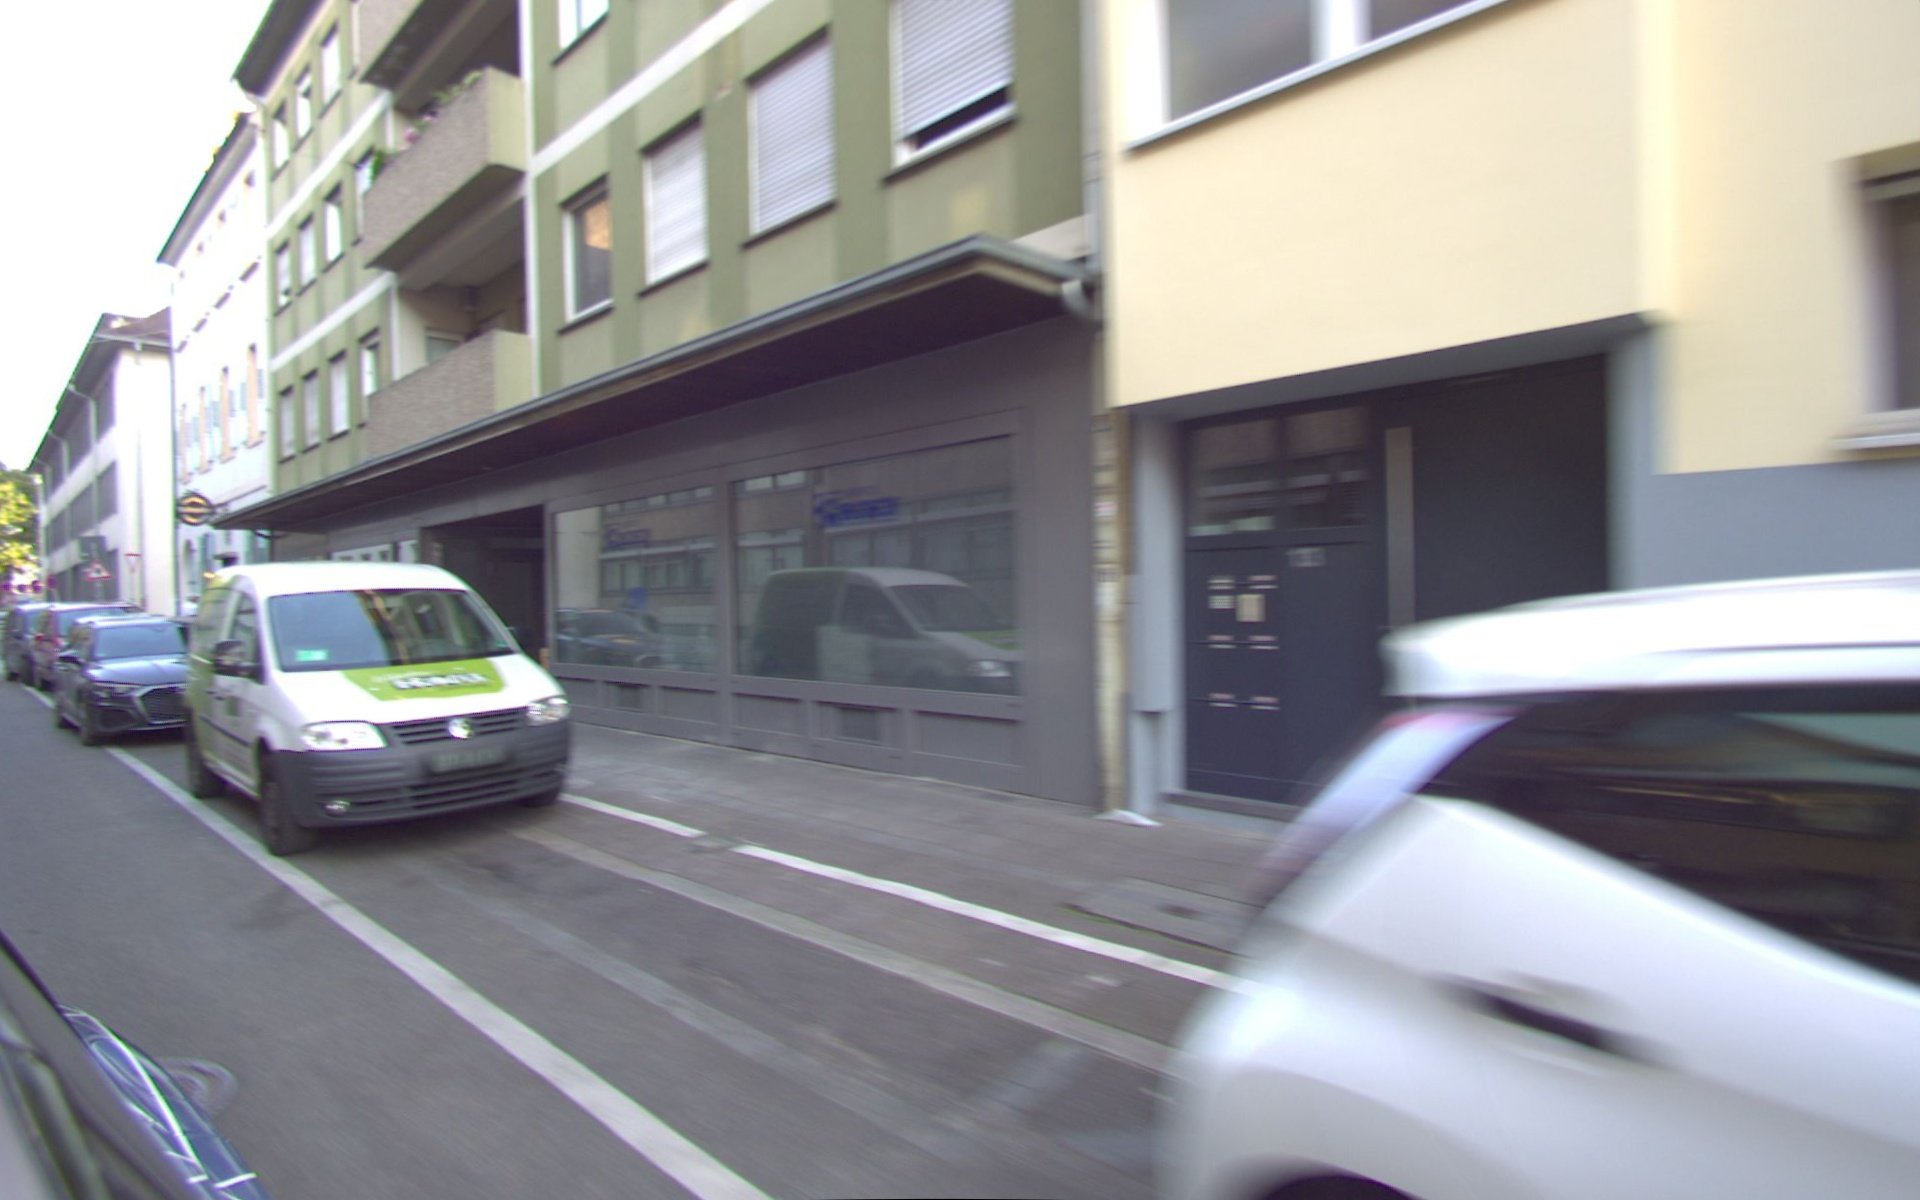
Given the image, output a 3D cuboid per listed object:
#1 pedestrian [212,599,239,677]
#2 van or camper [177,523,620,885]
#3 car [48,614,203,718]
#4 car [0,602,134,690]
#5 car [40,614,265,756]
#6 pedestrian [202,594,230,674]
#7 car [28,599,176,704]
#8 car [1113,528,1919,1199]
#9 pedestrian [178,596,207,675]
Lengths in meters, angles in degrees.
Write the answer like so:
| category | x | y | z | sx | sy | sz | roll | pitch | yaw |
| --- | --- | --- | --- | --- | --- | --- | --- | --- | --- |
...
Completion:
| category | x | y | z | sx | sy | sz | roll | pitch | yaw |
| --- | --- | --- | --- | --- | --- | --- | --- | --- | --- |
| pedestrian | -16.815 | 0.864 | 23.174 | 0.401 | 1.763 | 0.470 | -2 | 0 | -44 |
| van or camper | -4.257 | 0.557 | 7.325 | 1.752 | 1.862 | 4.181 | -1 | 0 | -44 |
| car | -13.904 | 0.996 | 16.792 | 3.879 | 1.496 | 1.605 | -1 | 0 | 45 |
| car | -20.987 | 1.017 | 23.695 | 4.449 | 1.825 | 1.857 | -1 | 1 | 42 |
| car | -10.103 | 0.918 | 12.557 | 3.981 | 1.426 | 1.606 | -1 | 1 | 43 |
| pedestrian | -16.577 | 0.747 | 22.538 | 0.401 | 1.763 | 0.470 | -2 | 0 | -44 |
| car | -17.206 | 0.949 | 20.218 | 4.511 | 1.825 | 1.753 | -1 | 1 | 44 |
| car | 2.096 | 0.629 | 0.934 | 3.522 | 1.459 | 1.644 | -1 | 3 | 44 |
| pedestrian | -17.358 | 0.799 | 22.893 | 0.444 | 1.763 | 0.470 | -2 | 0 | -44 |
